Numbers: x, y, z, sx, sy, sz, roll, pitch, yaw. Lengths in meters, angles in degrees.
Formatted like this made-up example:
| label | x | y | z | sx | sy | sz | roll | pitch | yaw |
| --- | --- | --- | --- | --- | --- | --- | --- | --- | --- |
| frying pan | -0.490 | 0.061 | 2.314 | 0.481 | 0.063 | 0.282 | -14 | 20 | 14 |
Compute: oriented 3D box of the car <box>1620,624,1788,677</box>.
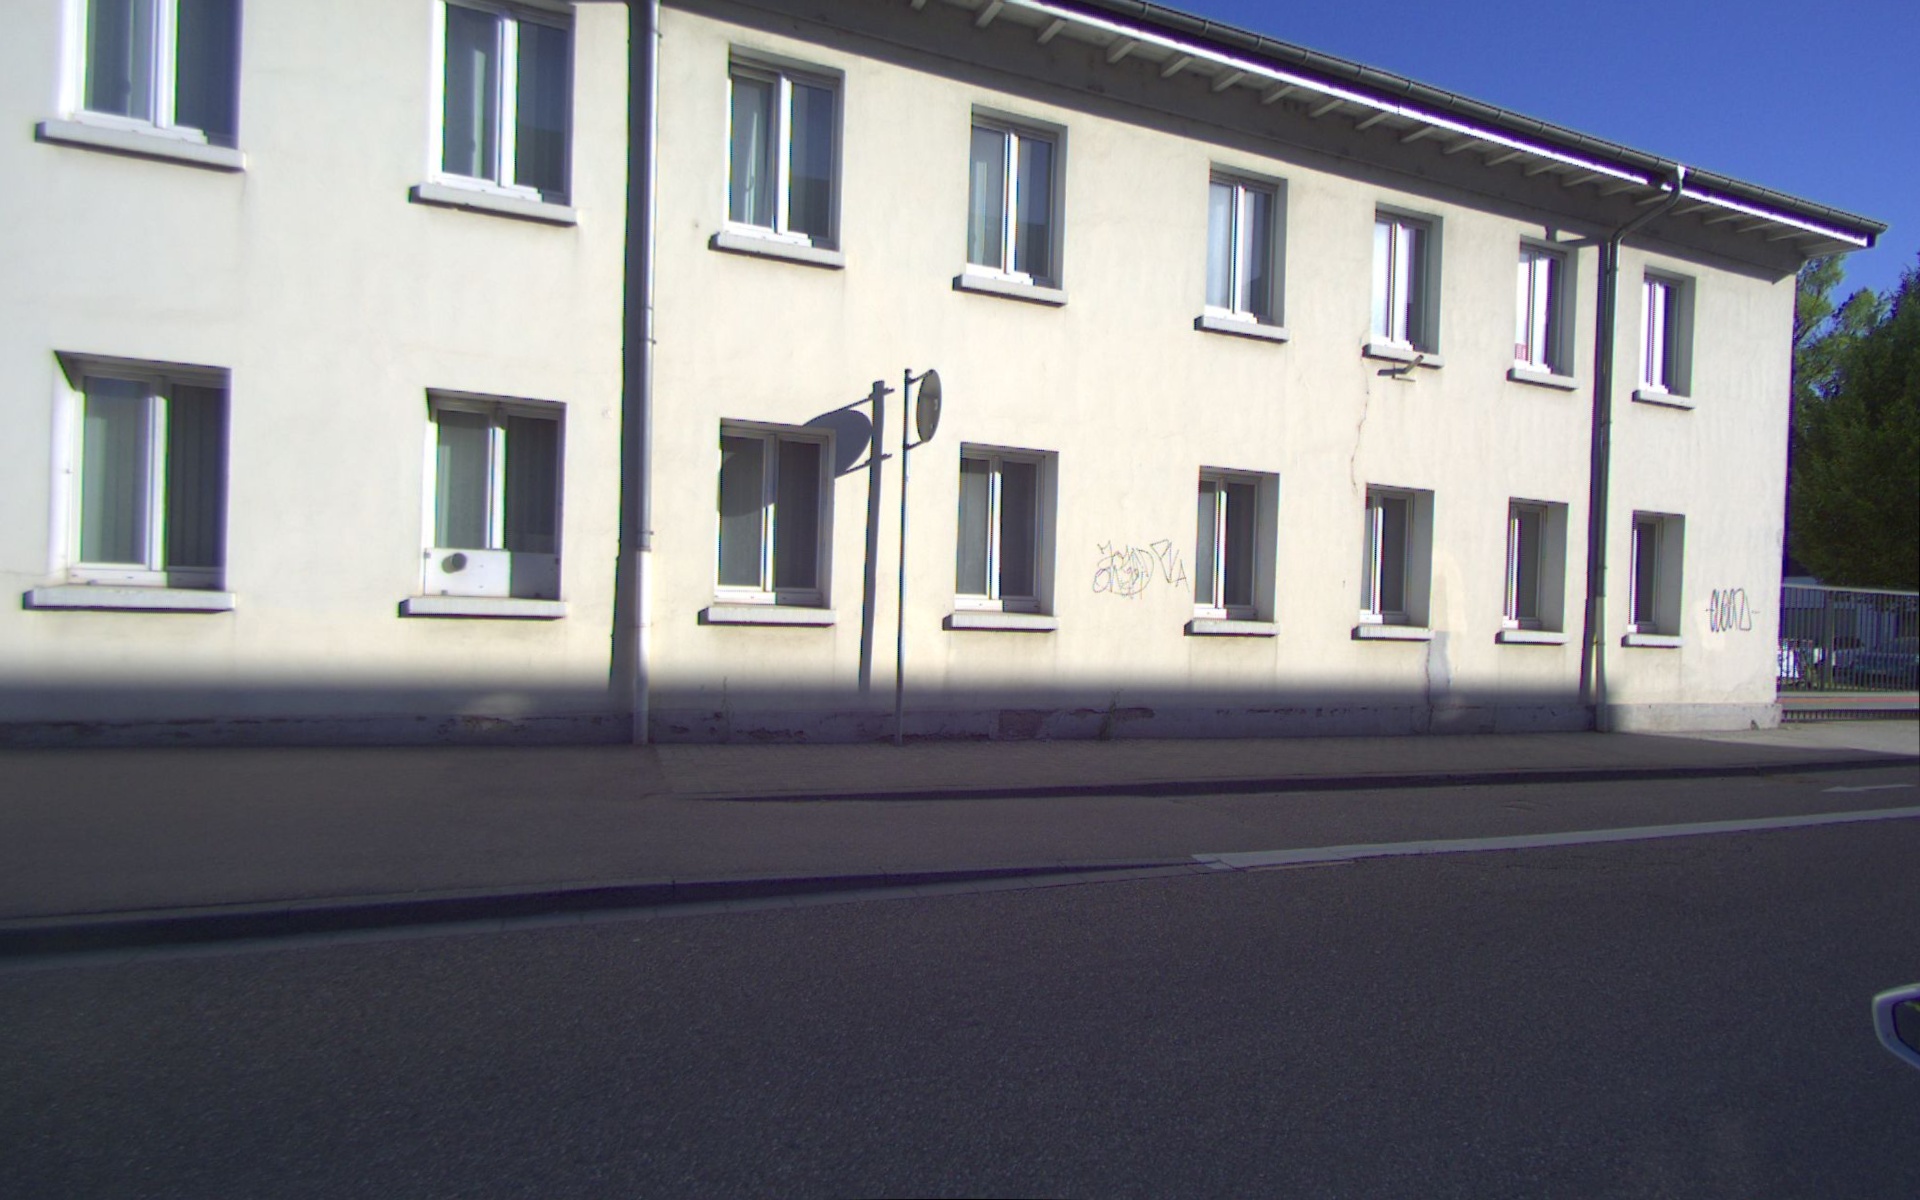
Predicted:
| label | x | y | z | sx | sy | sz | roll | pitch | yaw |
| --- | --- | --- | --- | --- | --- | --- | --- | --- | --- |
| car | 23.659 | 1.578 | 32.116 | 1.847 | 1.561 | 3.981 | 2 | -1 | -21 |

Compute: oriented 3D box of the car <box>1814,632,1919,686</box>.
| label | x | y | z | sx | sy | sz | roll | pitch | yaw |
| --- | --- | --- | --- | --- | --- | --- | --- | --- | --- |
| car | 28.221 | 1.777 | 30.415 | 3.941 | 1.471 | 1.990 | 2 | 0 | -22 |

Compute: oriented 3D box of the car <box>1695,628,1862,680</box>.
| label | x | y | z | sx | sy | sz | roll | pitch | yaw |
| --- | --- | --- | --- | --- | --- | --- | --- | --- | --- |
| car | 27.436 | 1.778 | 33.825 | 1.847 | 1.561 | 3.981 | 2 | -1 | -21 |
